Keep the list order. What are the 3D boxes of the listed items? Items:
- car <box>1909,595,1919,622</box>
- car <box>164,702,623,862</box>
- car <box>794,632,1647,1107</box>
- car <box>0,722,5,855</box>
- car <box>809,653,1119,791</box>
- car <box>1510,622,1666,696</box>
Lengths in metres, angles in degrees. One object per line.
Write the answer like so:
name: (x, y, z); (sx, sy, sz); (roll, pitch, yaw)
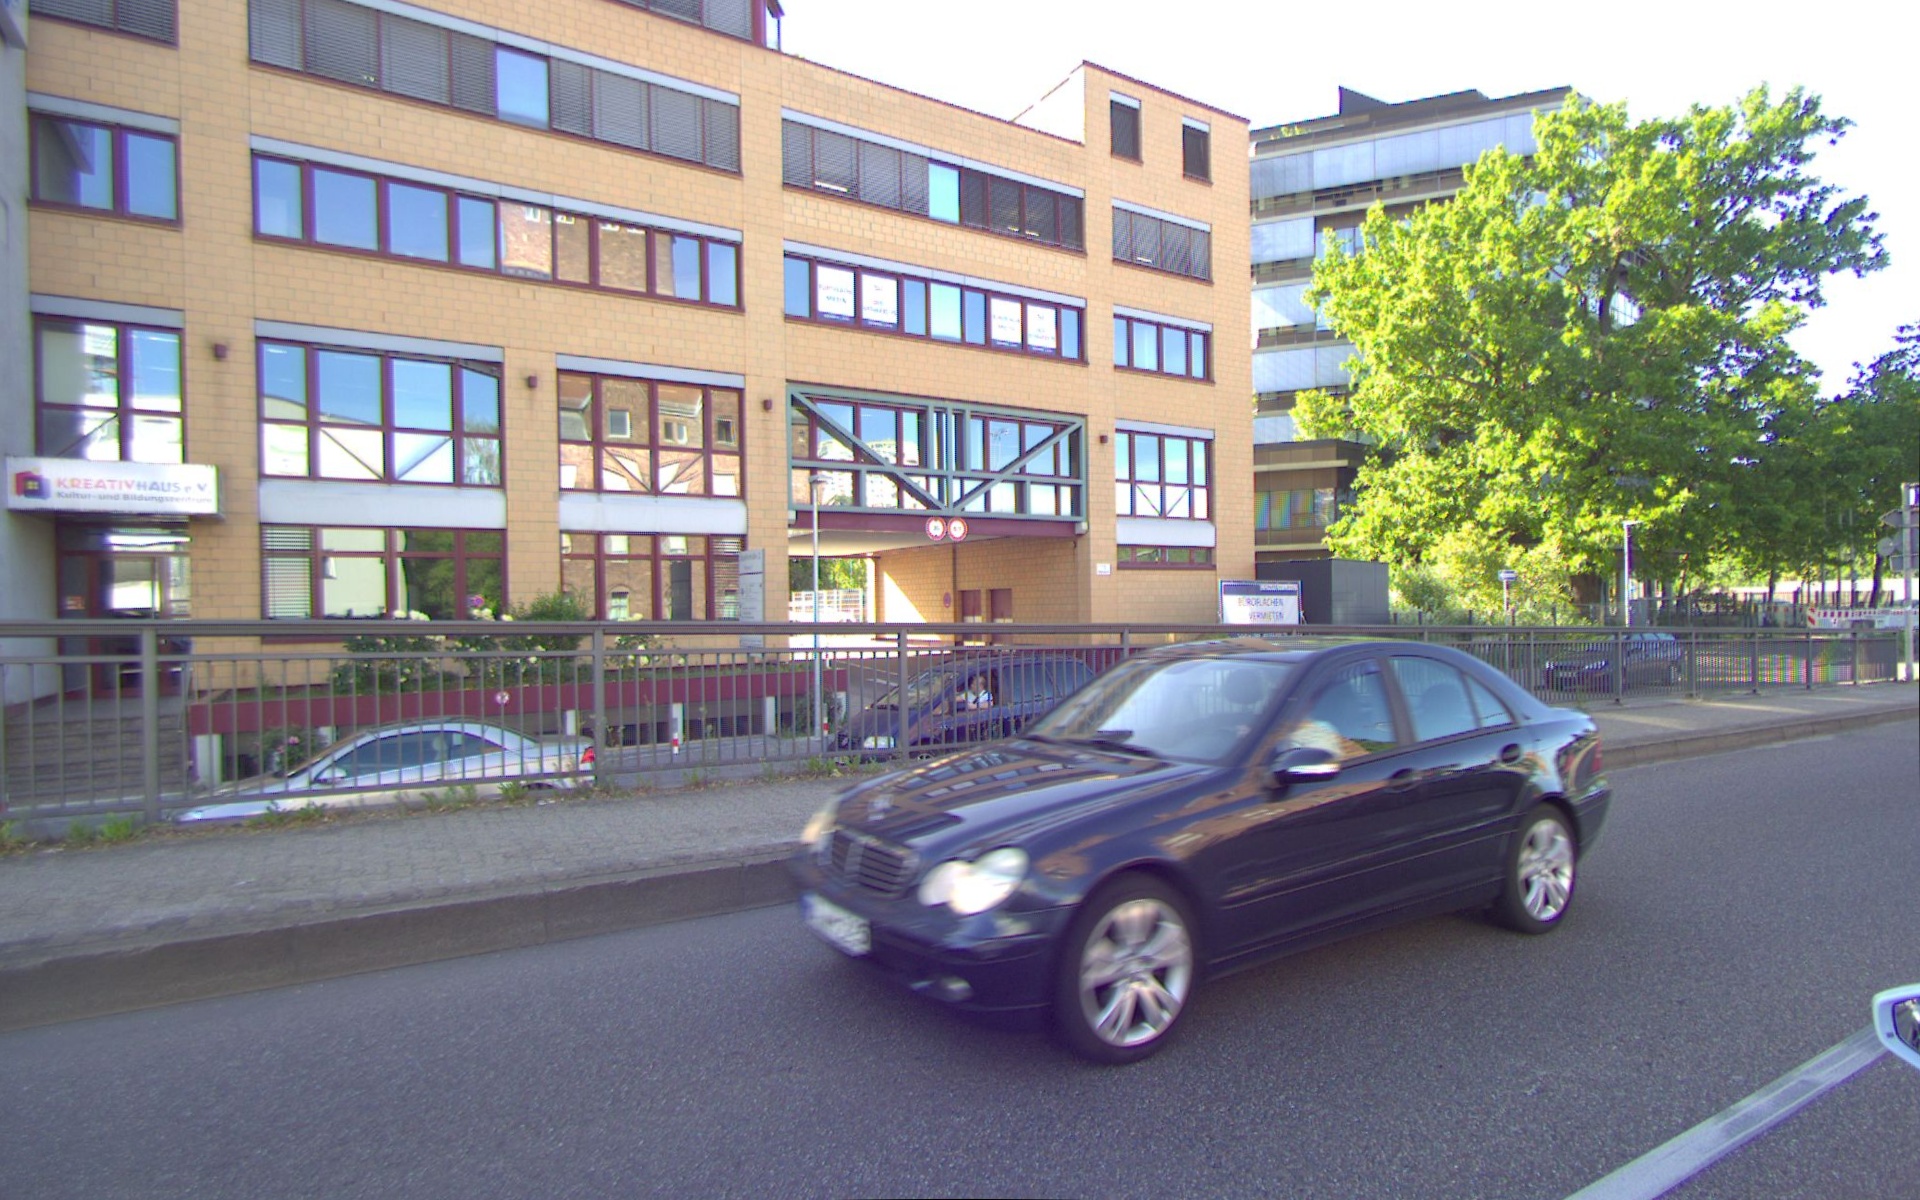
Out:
car: (59.266, 0.484, 59.884); (1.748, 1.657, 4.002); (-2, -1, 4)
car: (-6.142, 1.901, 11.302); (4.210, 1.181, 1.713); (0, -2, -32)
car: (1.454, 0.875, 4.929); (4.156, 1.426, 1.731); (1, -2, -33)
car: (-10.653, 1.820, 8.277); (3.766, 1.286, 1.567); (0, -2, -32)
car: (0.151, 1.698, 15.175); (4.541, 1.669, 1.710); (0, -2, -35)
car: (16.429, 1.469, 26.267); (3.953, 1.715, 1.843); (-1, 0, -30)
